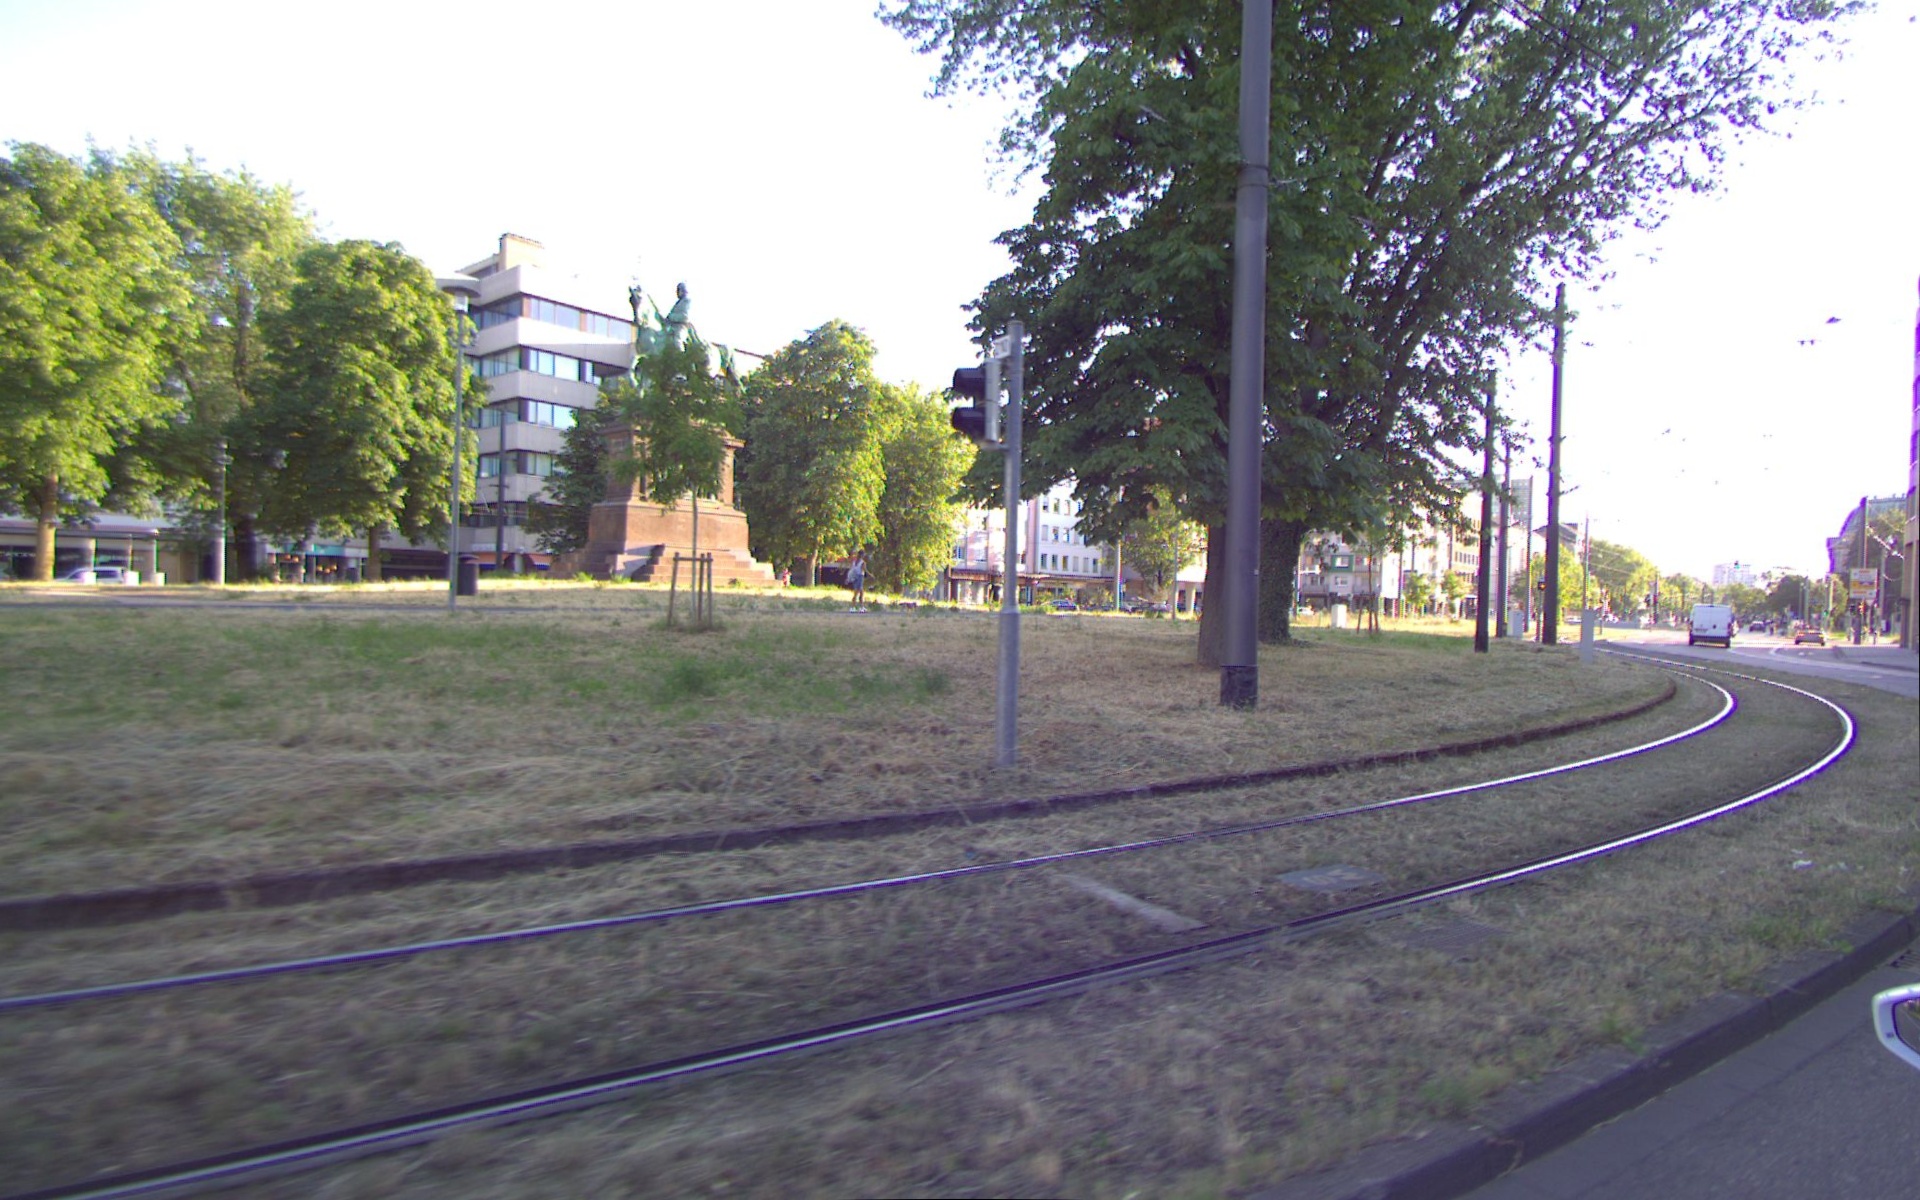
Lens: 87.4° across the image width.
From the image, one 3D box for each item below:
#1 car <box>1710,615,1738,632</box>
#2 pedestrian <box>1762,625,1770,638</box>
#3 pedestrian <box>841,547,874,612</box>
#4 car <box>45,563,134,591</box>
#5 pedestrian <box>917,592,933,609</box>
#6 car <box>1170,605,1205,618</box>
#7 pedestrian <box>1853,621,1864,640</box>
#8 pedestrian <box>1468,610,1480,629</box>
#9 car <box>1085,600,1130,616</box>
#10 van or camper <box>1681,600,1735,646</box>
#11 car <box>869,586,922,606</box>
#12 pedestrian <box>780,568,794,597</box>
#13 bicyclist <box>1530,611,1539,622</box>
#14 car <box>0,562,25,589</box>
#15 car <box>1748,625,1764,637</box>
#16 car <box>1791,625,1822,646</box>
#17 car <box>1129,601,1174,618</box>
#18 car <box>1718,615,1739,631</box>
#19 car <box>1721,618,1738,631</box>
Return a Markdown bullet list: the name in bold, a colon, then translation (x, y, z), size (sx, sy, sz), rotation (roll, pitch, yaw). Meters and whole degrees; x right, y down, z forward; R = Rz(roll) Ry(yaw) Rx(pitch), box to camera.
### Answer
- **car**: translation (69.514, 2.114, 91.404), size (1.717, 1.404, 3.979), rotation (2, 1, 41)
- **pedestrian**: translation (92.117, 3.579, 114.770), size (0.795, 1.495, 0.610), rotation (0, 2, -45)
- **pedestrian**: translation (-2.741, -0.537, 26.962), size (0.467, 1.712, 0.835), rotation (1, 0, 27)
- **car**: translation (-55.101, -1.468, 63.669), size (3.948, 1.686, 1.748), rotation (0, 1, -27)
- **pedestrian**: translation (-3.191, 0.015, 91.021), size (1.104, 1.548, 0.849), rotation (2, 1, 39)
- **car**: translation (30.928, 1.548, 136.738), size (4.224, 1.606, 1.981), rotation (2, 1, 36)
- **pedestrian**: translation (78.568, 2.647, 87.850), size (0.668, 1.591, 0.796), rotation (2, 1, 39)
- **pedestrian**: translation (47.594, 1.783, 92.950), size (0.642, 1.786, 0.716), rotation (0, 1, -28)
- **car**: translation (14.188, 0.758, 96.696), size (3.948, 1.547, 1.748), rotation (0, 1, -27)
- **van or camper**: translation (45.639, 1.345, 61.234), size (2.237, 2.660, 4.479), rotation (2, 1, 41)
- **car**: translation (-5.403, -0.355, 83.639), size (4.015, 1.577, 1.853), rotation (0, 1, -27)
- **pedestrian**: translation (-9.219, -0.925, 53.571), size (0.447, 1.532, 0.550), rotation (2, 2, 43)
- **bicyclist**: translation (77.610, 2.251, 135.719), size (0.839, 1.462, 0.663), rotation (3, 3, 8)
- **car**: translation (-60.003, -1.516, 61.295), size (3.943, 1.601, 1.787), rotation (0, 1, -23)
- **car**: translation (117.994, 4.627, 148.946), size (1.771, 1.587, 3.984), rotation (2, 1, 37)
- **car**: translation (65.126, 2.725, 77.300), size (1.762, 1.372, 4.246), rotation (3, 2, 40)
- **car**: translation (18.800, 0.935, 98.565), size (4.236, 1.547, 1.748), rotation (0, 1, -27)
- **car**: translation (84.918, 2.536, 111.021), size (1.771, 1.587, 3.984), rotation (2, 1, 37)
- **car**: translation (103.936, 3.270, 135.646), size (1.771, 1.587, 3.984), rotation (2, 1, 37)
